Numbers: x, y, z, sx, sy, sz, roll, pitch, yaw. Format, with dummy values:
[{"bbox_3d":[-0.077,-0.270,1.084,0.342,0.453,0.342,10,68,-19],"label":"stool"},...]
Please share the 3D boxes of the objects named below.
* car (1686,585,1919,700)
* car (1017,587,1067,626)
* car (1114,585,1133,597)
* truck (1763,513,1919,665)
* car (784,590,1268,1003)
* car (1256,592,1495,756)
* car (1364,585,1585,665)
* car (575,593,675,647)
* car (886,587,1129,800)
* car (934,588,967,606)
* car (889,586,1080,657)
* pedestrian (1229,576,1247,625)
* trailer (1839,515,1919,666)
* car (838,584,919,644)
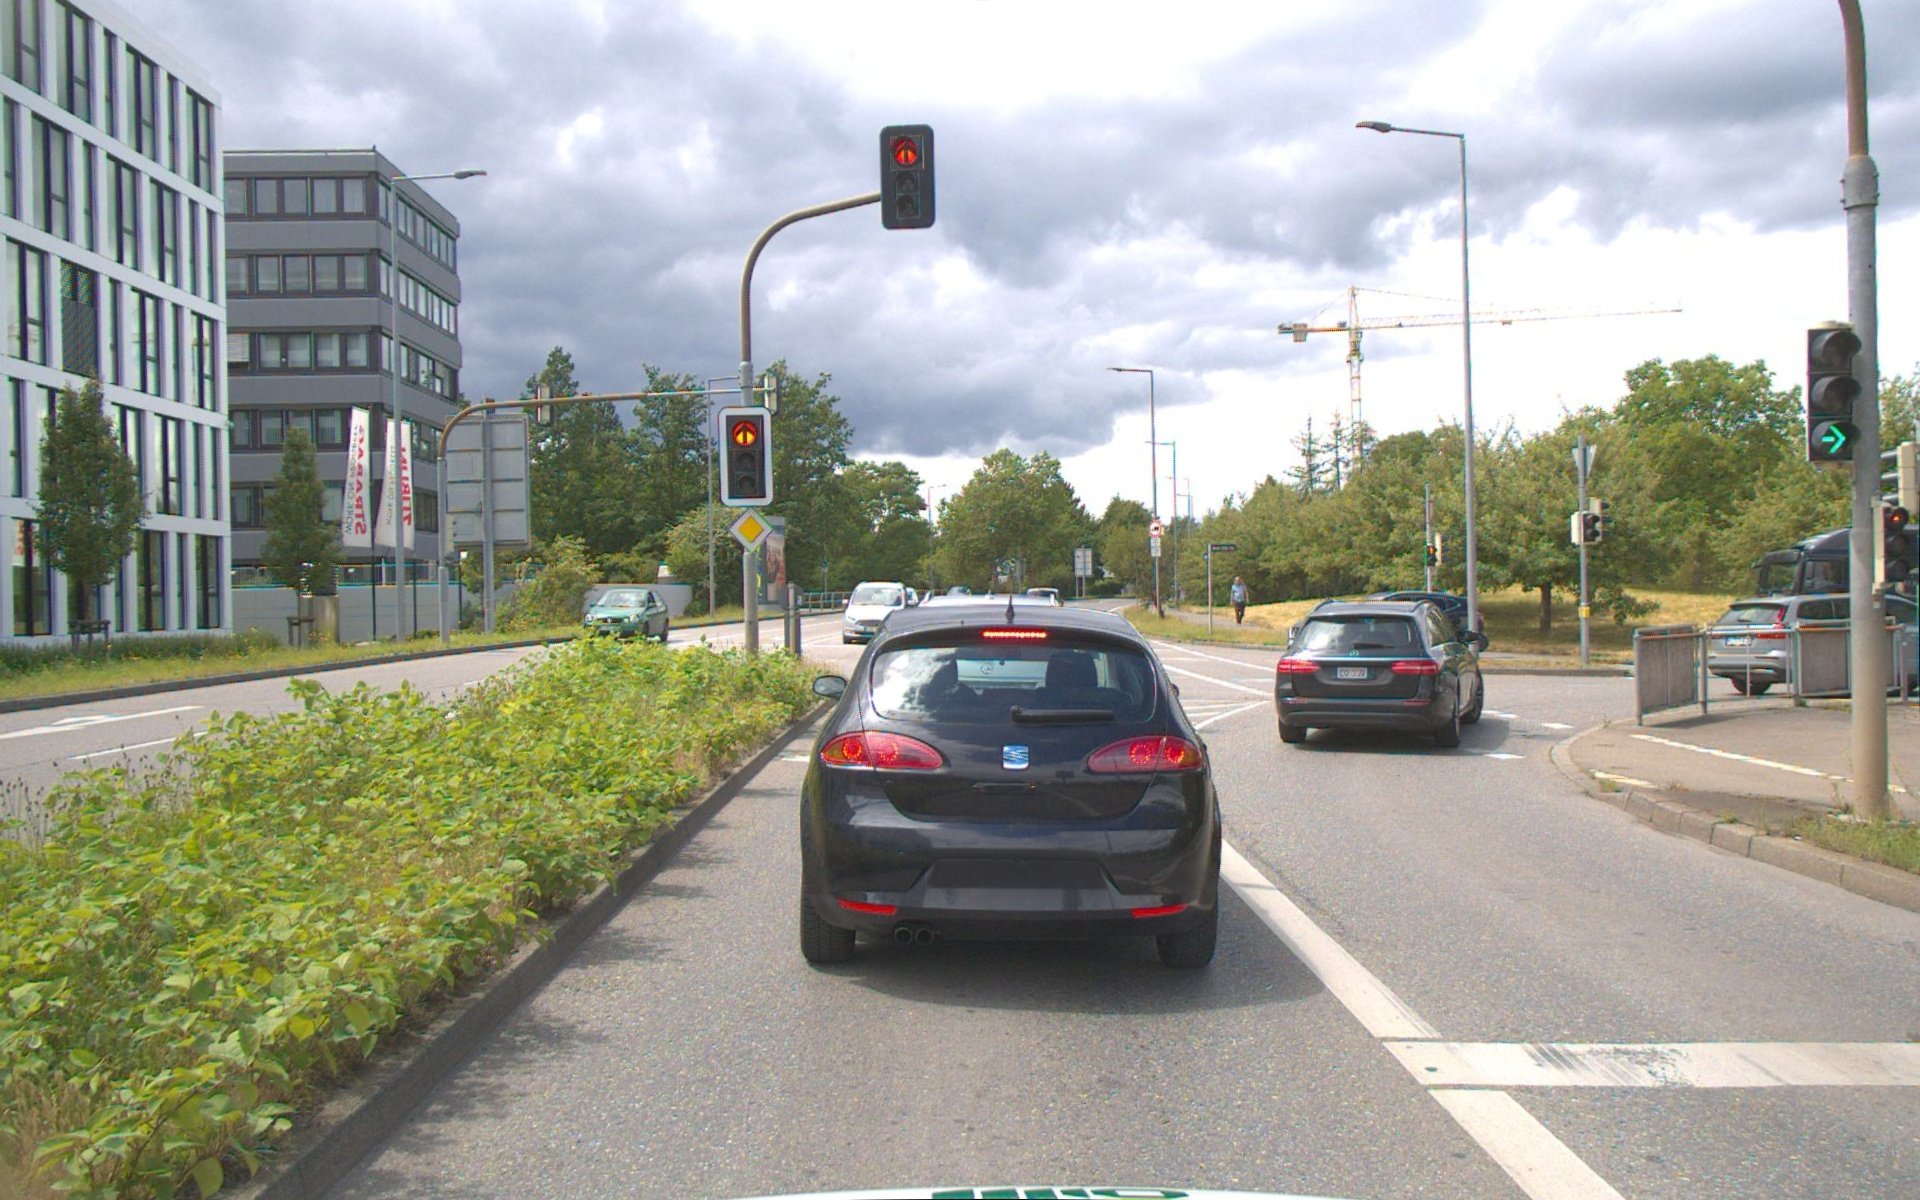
[{"bbox_3d":[13.392,0.584,24.815,4.356,1.545,1.862,-1,0,-14],"label":"car"},{"bbox_3d":[3.334,0.238,67.295,1.952,1.557,4.002,0,0,3],"label":"car"},{"bbox_3d":[18.116,-1.012,183.146,1.951,1.375,4.003,0,0,7],"label":"car"},{"bbox_3d":[21.631,-0.266,39.564,3.902,3.530,2.002,0,0,6],"label":"truck"},{"bbox_3d":[0.216,0.700,7.759,1.737,1.477,3.582,0,0,-1],"label":"car"},{"bbox_3d":[4.736,0.701,18.258,1.834,1.466,5.199,-1,0,22],"label":"car"},{"bbox_3d":[11.301,0.521,36.475,4.222,1.644,1.997,-1,0,-7],"label":"car"},{"bbox_3d":[-9.013,0.513,44.827,1.953,1.375,3.999,0,0,-1],"label":"car"},{"bbox_3d":[0.275,0.672,13.936,1.738,1.517,3.580,-1,0,-3],"label":"car"},{"bbox_3d":[-0.696,-0.233,124.553,1.951,1.375,4.003,0,0,7],"label":"car"},{"bbox_3d":[0.538,0.480,38.908,4.224,1.552,1.996,-1,0,-9],"label":"car"},{"bbox_3d":[10.136,0.008,60.363,0.547,1.756,0.588,0,0,0],"label":"pedestrian"},{"bbox_3d":[25.162,-0.235,39.216,7.424,3.519,2.001,0,0,5],"label":"trailer"},{"bbox_3d":[-2.272,0.366,47.098,1.952,1.624,4.001,0,0,2],"label":"car"}]
